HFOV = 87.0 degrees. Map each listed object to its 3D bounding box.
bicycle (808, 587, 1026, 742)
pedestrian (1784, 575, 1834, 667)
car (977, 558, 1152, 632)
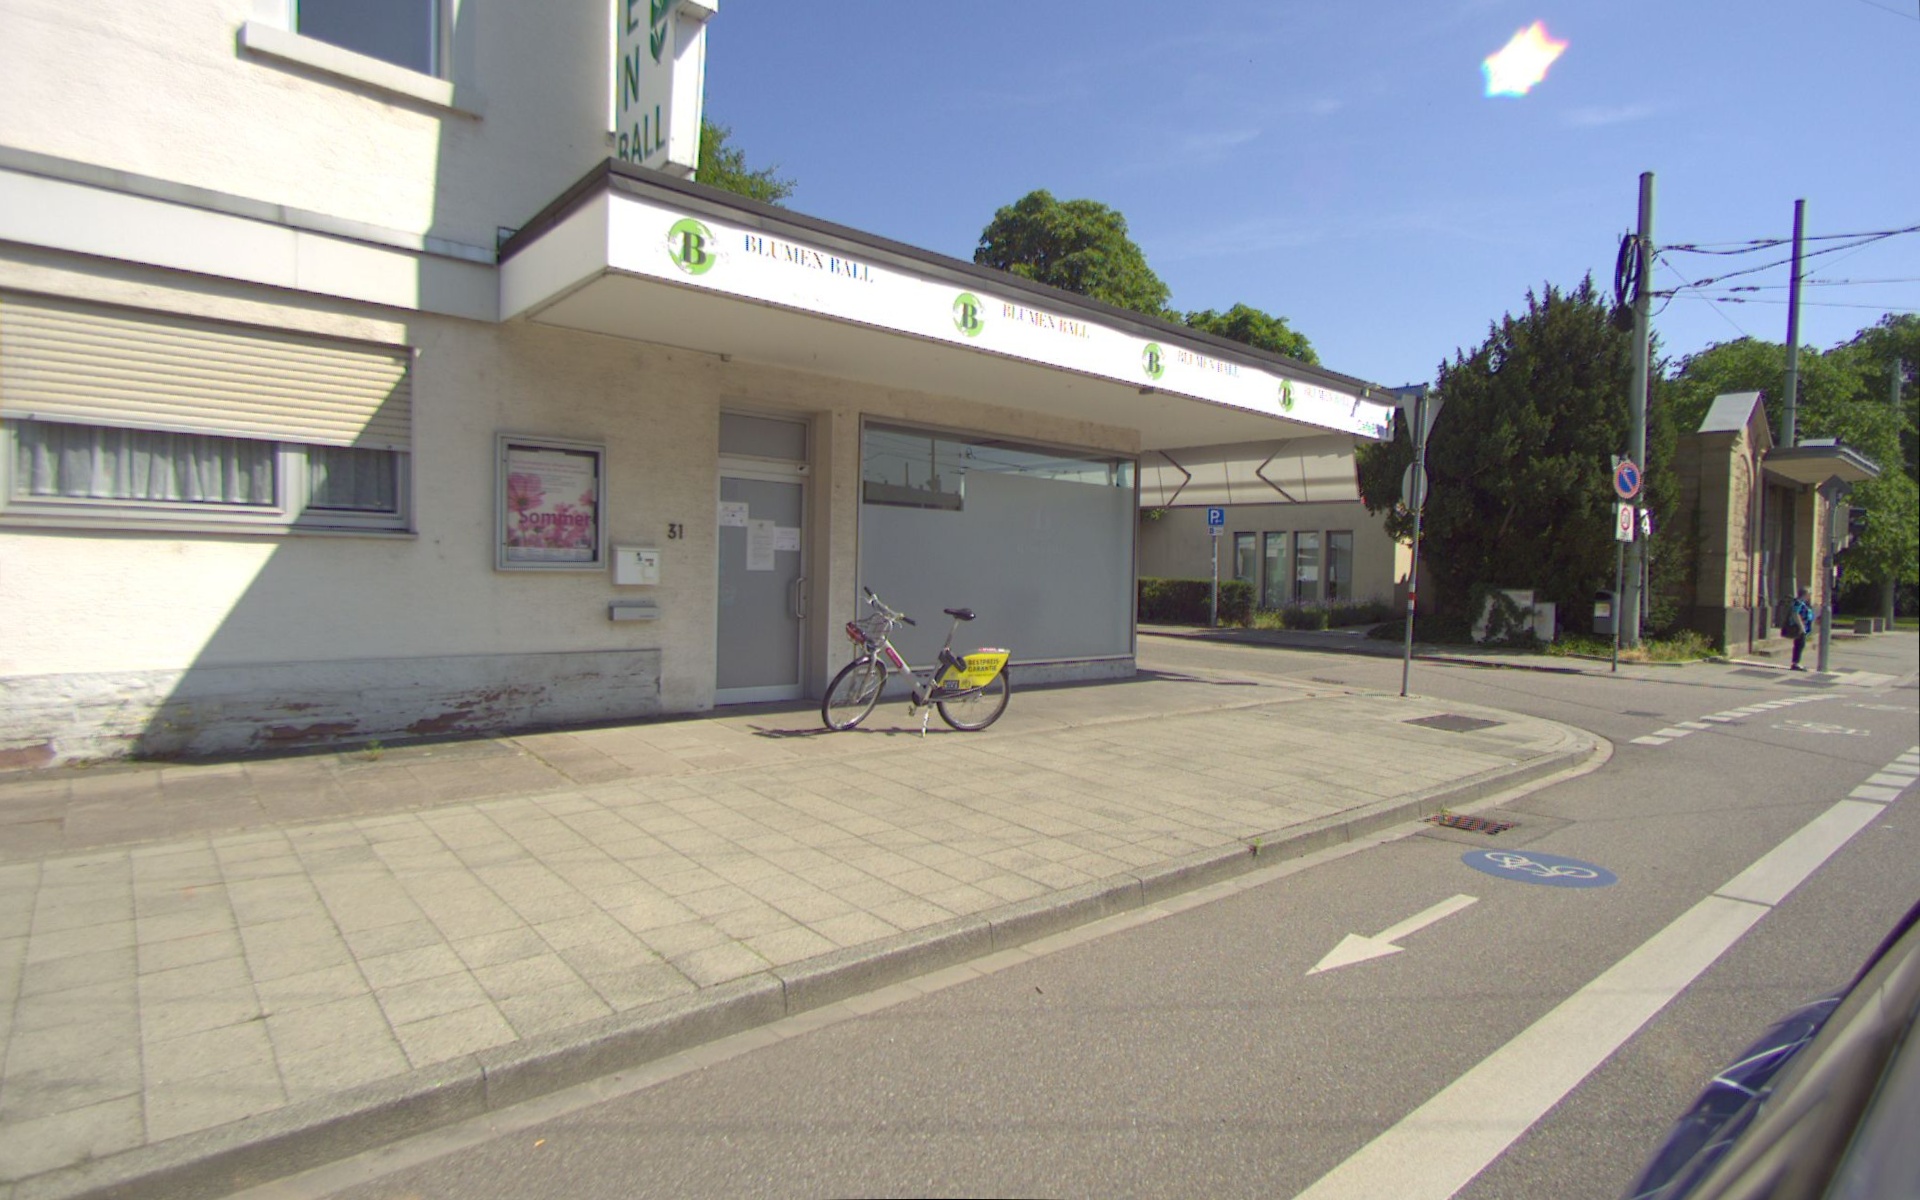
[{"bbox_3d":[-0.337,0.486,8.118,1.655,1.148,0.513,1,2,-24],"label":"bicycle"},{"bbox_3d":[15.775,0.378,18.801,0.490,1.646,0.501,1,3,-33],"label":"pedestrian"},{"bbox_3d":[2.397,-0.175,24.296,1.728,1.572,4.286,0,2,-36],"label":"car"}]
